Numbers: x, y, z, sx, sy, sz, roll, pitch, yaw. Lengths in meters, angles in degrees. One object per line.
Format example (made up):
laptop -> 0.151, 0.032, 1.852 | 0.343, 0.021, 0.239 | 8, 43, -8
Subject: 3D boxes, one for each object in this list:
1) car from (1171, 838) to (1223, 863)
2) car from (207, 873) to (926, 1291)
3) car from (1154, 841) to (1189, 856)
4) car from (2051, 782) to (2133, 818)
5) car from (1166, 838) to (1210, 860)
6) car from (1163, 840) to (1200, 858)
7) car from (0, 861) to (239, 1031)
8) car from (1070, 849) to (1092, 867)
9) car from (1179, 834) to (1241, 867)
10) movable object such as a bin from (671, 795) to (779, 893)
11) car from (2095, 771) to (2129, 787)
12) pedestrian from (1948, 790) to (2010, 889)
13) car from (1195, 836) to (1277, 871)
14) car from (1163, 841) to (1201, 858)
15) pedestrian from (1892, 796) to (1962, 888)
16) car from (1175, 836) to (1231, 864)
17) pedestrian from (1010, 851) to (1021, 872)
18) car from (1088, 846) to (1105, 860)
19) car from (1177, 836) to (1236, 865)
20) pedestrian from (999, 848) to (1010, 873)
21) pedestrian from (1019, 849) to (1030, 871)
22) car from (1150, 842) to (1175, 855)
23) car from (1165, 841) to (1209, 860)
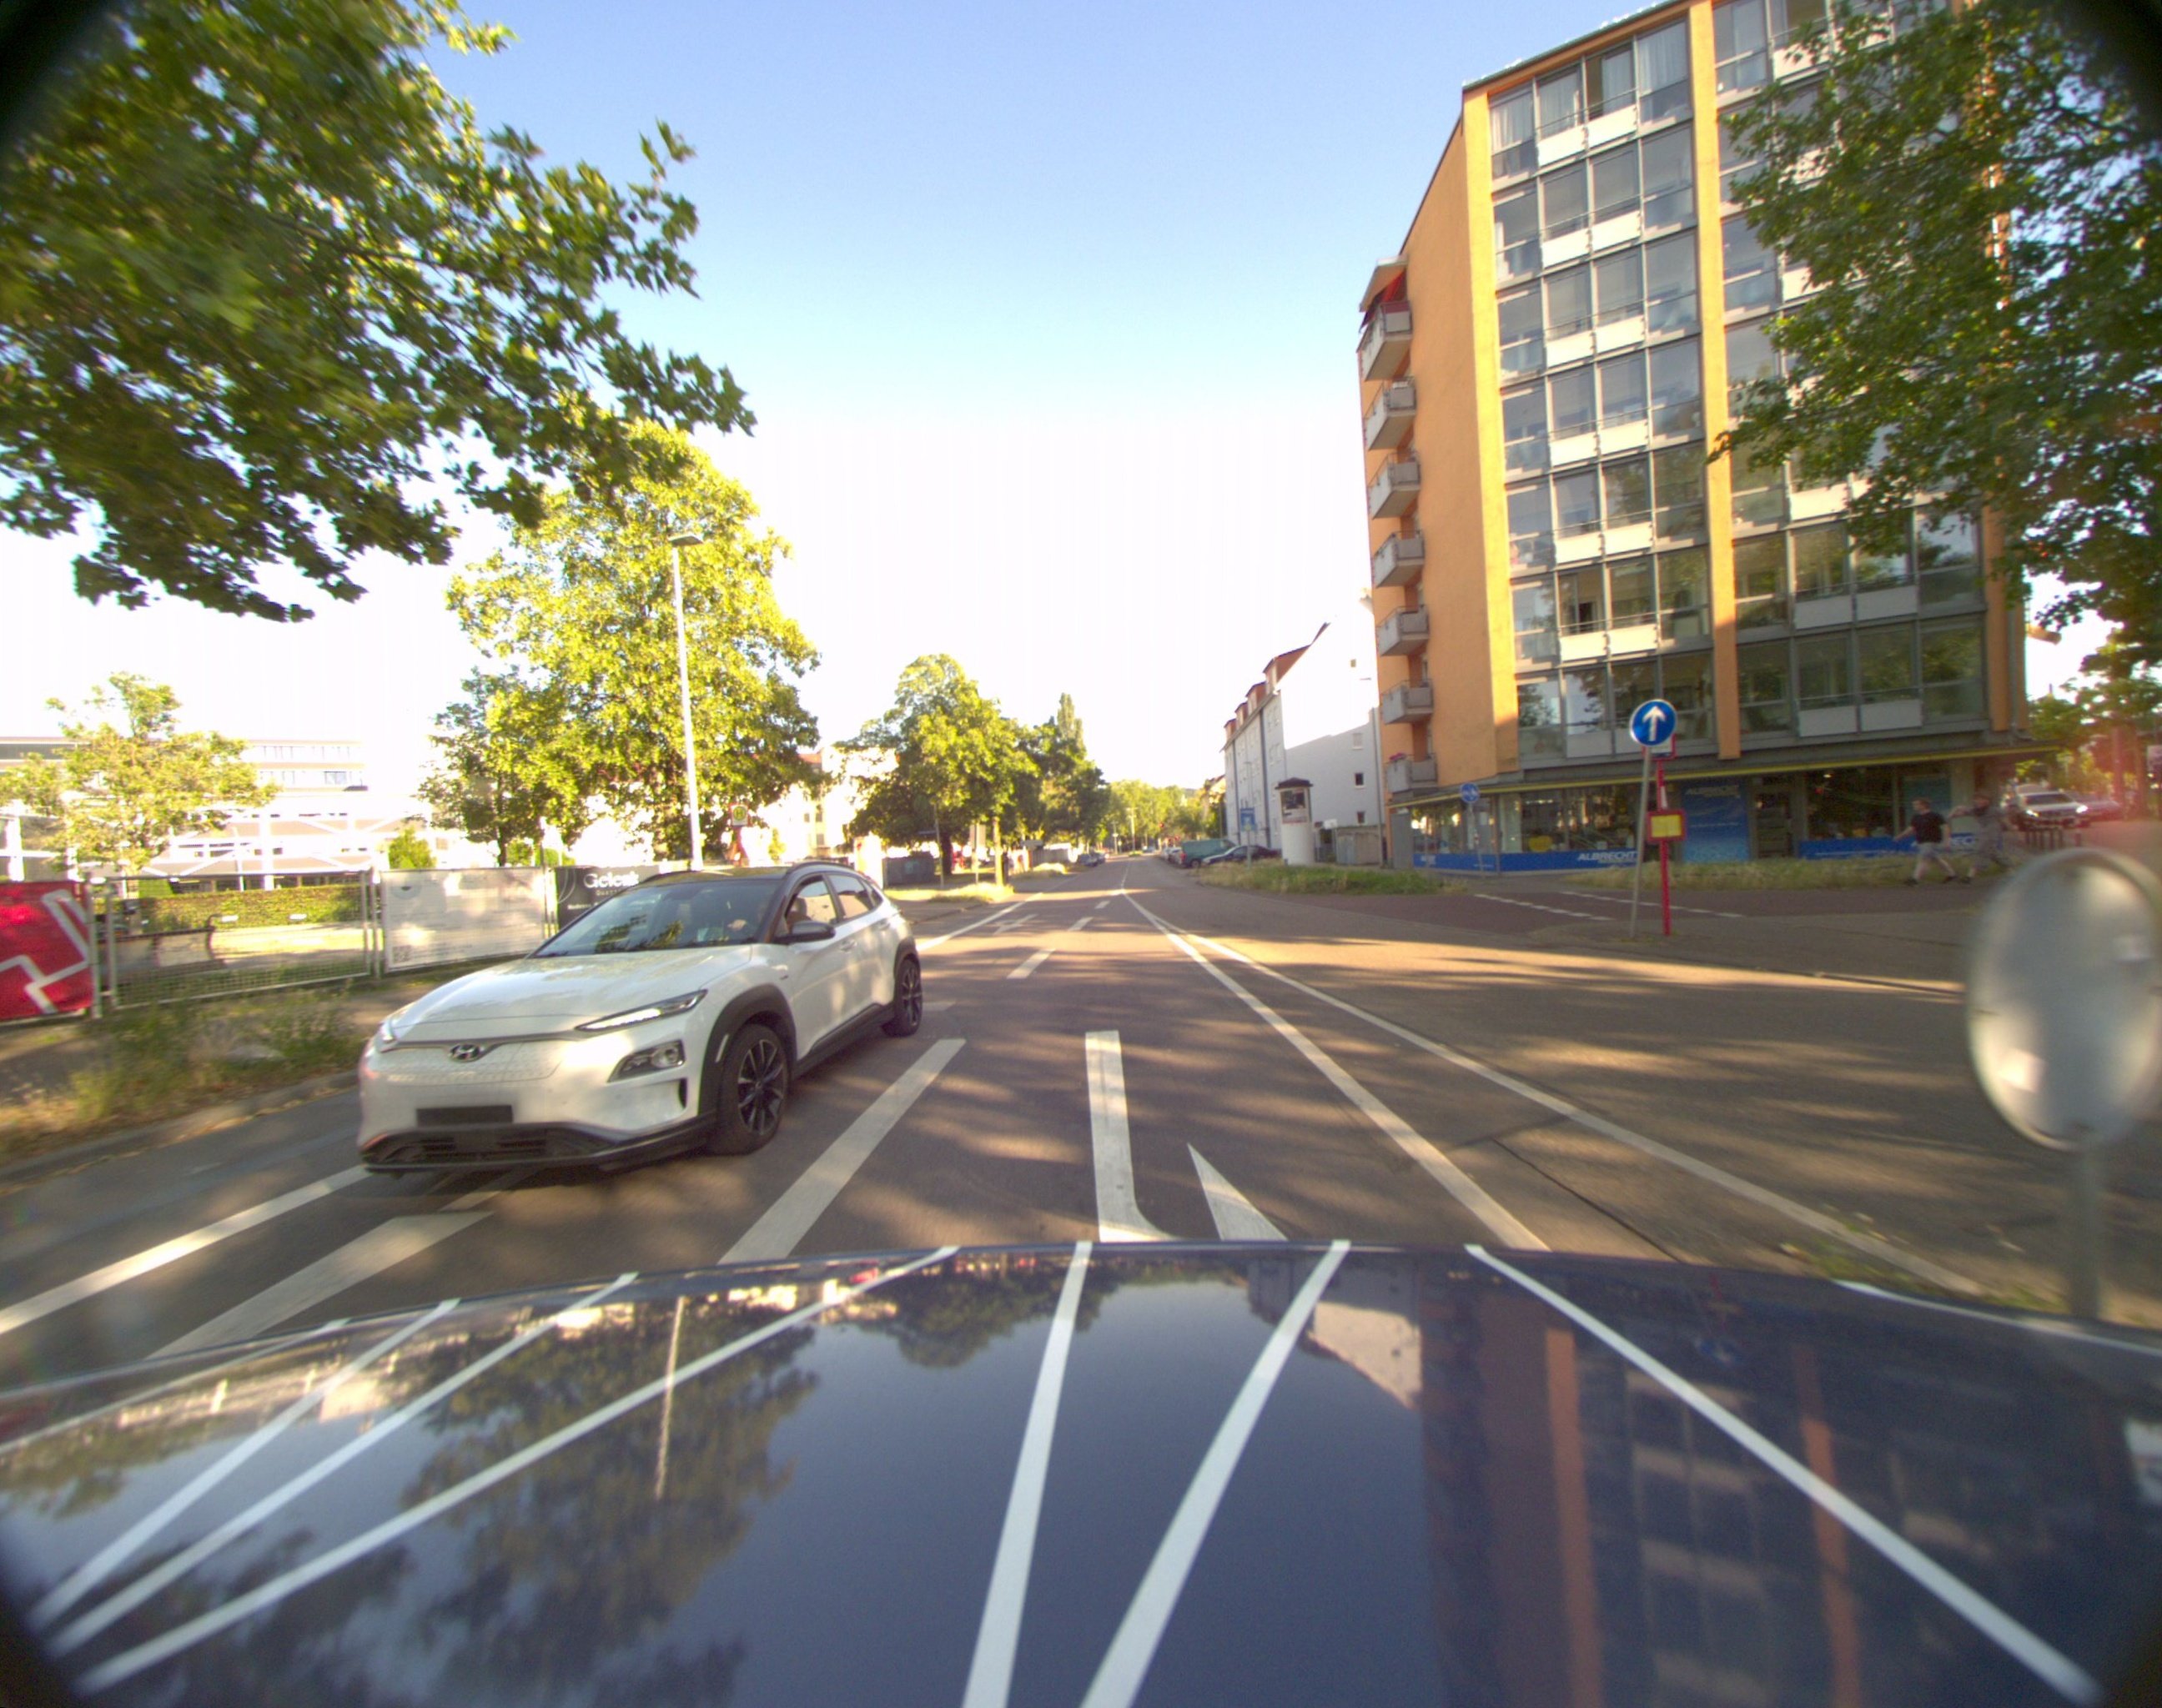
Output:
car -> 9.643, -0.324, 63.422 | 4.071, 1.742, 1.899 | -4, 1, 6
car -> -2.550, 1.000, 5.107 | 1.894, 1.588, 3.967 | -4, -1, 3
car -> 11.592, -0.743, 97.147 | 4.257, 1.564, 1.866 | -4, 1, 6
car -> 49.862, -2.677, 37.567 | 4.053, 1.567, 2.045 | -5, 2, -42
car -> 10.309, -0.501, 73.463 | 4.117, 1.762, 1.757 | -4, 2, 6
car -> 11.488, -0.557, 87.025 | 4.071, 1.742, 1.899 | -4, 1, 6
car -> -14.166, 1.186, 10.037 | 4.598, 1.818, 2.044 | -4, 1, 14
car -> 0.014, 0.394, 76.729 | 1.998, 1.521, 3.999 | -4, 1, 2
car -> 8.940, -0.266, 52.934 | 3.995, 1.937, 2.000 | -4, 1, 5
movable object such as a bin -> -21.607, -0.550, 45.980 | 3.985, 5.447, 6.017 | -5, 2, -41
car -> 122.882, -8.936, 90.624 | 4.376, 1.696, 1.934 | -5, 2, -42
pedestrian -> 16.501, -0.268, 13.961 | 0.691, 1.740, 0.629 | -5, 2, -33
car -> 8.920, -0.035, 43.870 | 4.423, 1.652, 2.001 | -4, 1, 10
car -> 11.535, -0.526, 86.890 | 4.257, 1.564, 1.866 | -4, 1, 6
pedestrian -> 16.637, -0.232, 14.940 | 0.540, 1.740, 0.811 | -5, 2, -33
car -> 9.321, -0.338, 58.332 | 3.995, 1.805, 2.000 | -4, 1, 6
pedestrian -> -4.607, 0.547, 53.321 | 0.609, 1.426, 0.639 | -4, 2, 2
car -> 1.922, -0.118, 95.079 | 1.998, 1.521, 3.999 | -4, 1, 2
car -> 9.140, -0.269, 55.579 | 3.995, 1.805, 2.000 | -4, 1, 6
pedestrian -> -5.391, 0.438, 53.771 | 0.609, 1.727, 0.638 | -4, 2, -4
pedestrian -> -4.512, 0.482, 60.630 | 0.695, 1.659, 0.639 | -4, 2, 5
car -> 12.049, -0.850, 112.193 | 3.538, 1.564, 1.866 | -4, 1, 6
car -> 10.648, -0.375, 76.346 | 4.257, 1.564, 1.866 | -4, 1, 6
